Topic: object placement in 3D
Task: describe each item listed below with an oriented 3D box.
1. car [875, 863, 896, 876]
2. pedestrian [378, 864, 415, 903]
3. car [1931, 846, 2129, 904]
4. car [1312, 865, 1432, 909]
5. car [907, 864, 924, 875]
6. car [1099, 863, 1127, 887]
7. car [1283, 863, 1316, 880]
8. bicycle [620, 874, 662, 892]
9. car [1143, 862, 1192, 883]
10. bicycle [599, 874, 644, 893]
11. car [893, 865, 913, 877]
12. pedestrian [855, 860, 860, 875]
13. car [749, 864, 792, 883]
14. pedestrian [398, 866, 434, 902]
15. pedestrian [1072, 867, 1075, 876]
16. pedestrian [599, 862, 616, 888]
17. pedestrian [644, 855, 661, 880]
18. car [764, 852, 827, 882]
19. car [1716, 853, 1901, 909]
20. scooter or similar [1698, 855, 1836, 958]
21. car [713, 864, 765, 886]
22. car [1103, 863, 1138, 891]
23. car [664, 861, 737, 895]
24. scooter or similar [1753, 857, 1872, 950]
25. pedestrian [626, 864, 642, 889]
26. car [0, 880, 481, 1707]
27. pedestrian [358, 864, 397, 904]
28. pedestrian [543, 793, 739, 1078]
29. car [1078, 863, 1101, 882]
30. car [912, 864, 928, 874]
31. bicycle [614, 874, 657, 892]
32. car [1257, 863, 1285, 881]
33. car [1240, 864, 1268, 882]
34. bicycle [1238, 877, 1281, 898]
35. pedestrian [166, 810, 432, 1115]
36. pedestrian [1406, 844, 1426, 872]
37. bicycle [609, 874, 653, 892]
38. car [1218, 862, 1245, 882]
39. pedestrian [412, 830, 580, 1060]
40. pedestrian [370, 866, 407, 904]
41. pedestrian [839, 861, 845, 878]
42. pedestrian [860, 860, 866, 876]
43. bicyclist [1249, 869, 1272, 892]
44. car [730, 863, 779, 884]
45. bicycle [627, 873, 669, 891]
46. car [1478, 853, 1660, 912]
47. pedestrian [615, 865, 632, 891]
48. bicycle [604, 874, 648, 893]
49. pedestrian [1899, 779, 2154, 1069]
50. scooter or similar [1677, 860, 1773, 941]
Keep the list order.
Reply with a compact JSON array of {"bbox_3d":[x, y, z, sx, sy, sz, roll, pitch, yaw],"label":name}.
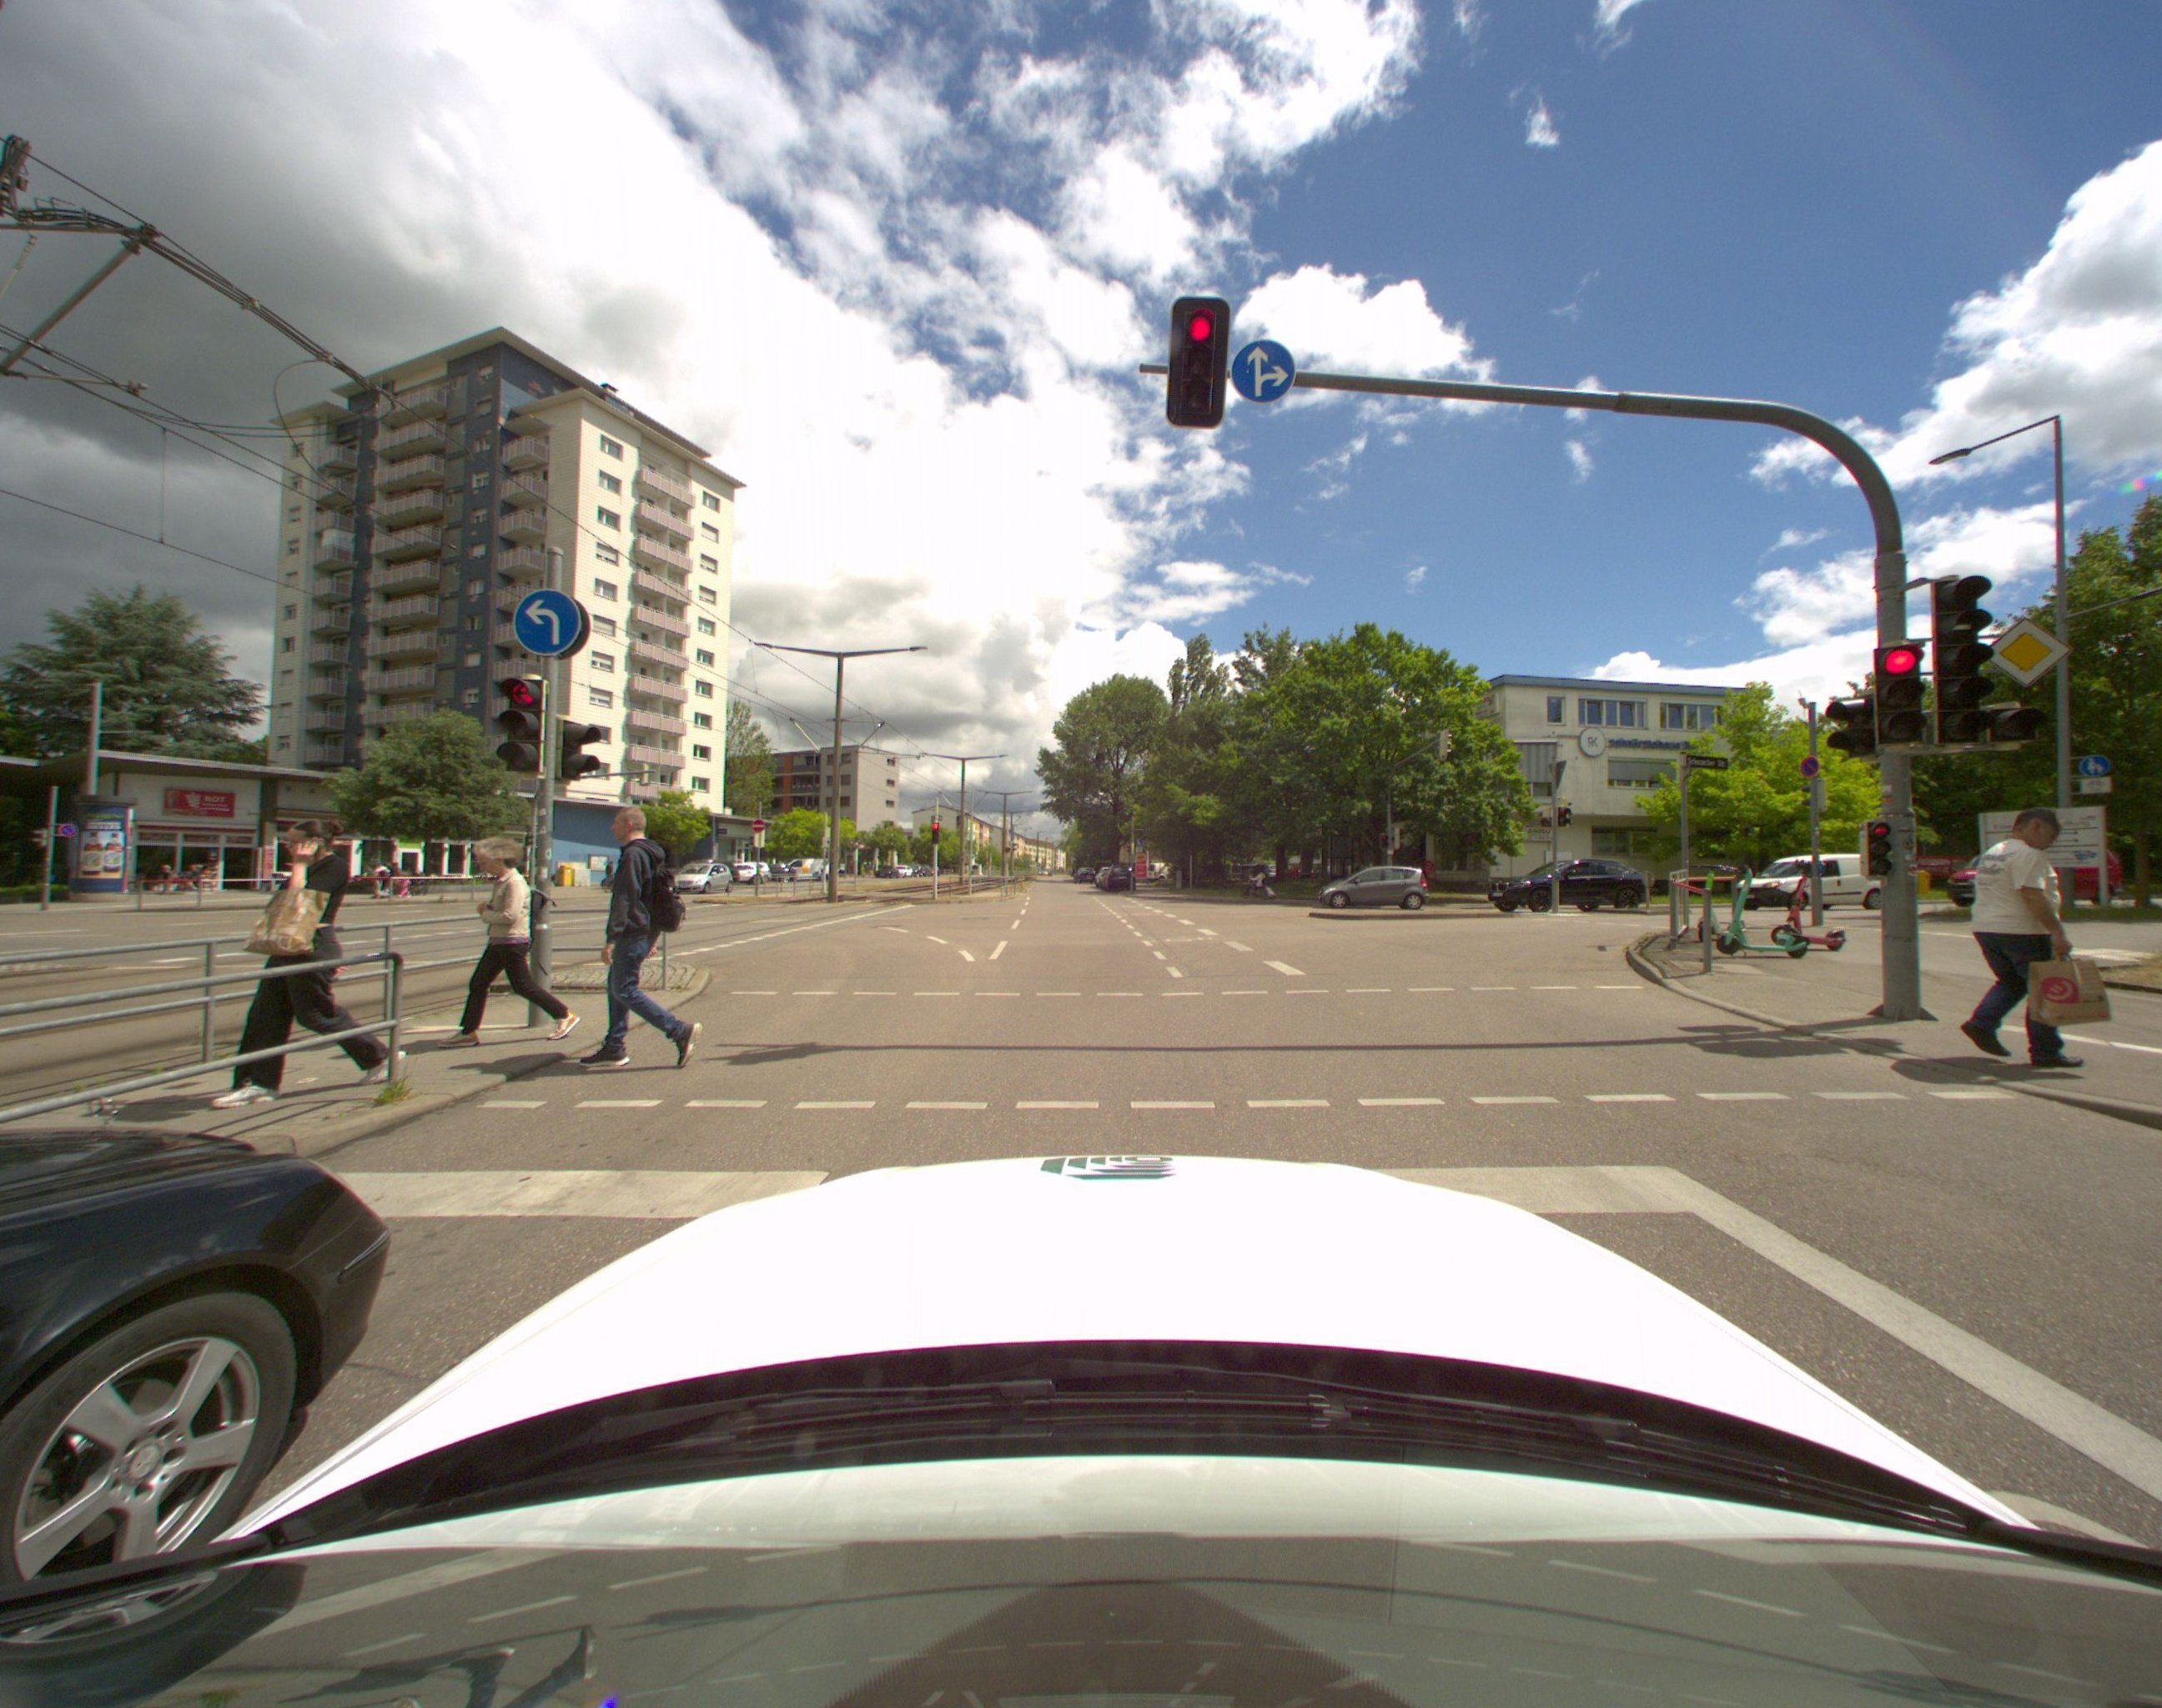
[{"bbox_3d":[-22.003,1.685,91.778,1.758,1.395,3.993,0,0,-5],"label":"car"},{"bbox_3d":[-30.104,1.280,35.840,0.935,1.659,1.106,-2,-1,40],"label":"pedestrian"},{"bbox_3d":[31.707,0.697,27.277,4.800,1.864,1.994,0,-2,-8],"label":"car"},{"bbox_3d":[10.618,1.180,29.986,3.882,1.556,2.006,0,0,10],"label":"car"},{"bbox_3d":[-21.454,2.030,105.783,1.758,1.395,3.993,0,0,-5],"label":"car"},{"bbox_3d":[2.332,1.559,59.346,1.986,1.684,4.001,0,-1,2],"label":"car"},{"bbox_3d":[20.572,1.633,76.686,1.728,1.595,3.992,0,0,-5],"label":"car"},{"bbox_3d":[-23.401,1.518,43.336,1.943,0.935,0.494,0,-1,-5],"label":"bicycle"},{"bbox_3d":[7.769,1.631,73.299,4.001,1.823,1.766,0,-1,-21],"label":"car"},{"bbox_3d":[-23.336,1.498,41.340,1.943,0.935,0.494,0,-1,-5],"label":"bicycle"},{"bbox_3d":[-21.666,2.055,99.190,1.758,1.395,3.993,0,0,-5],"label":"car"},{"bbox_3d":[-25.072,1.545,91.271,0.547,1.716,0.404,0,-1,-8],"label":"pedestrian"},{"bbox_3d":[-24.895,1.551,65.321,1.800,1.420,4.166,0,-1,-43],"label":"car"},{"bbox_3d":[-30.782,1.387,37.693,0.957,1.659,1.002,-1,-1,27],"label":"pedestrian"},{"bbox_3d":[-1.321,2.924,136.411,0.477,1.637,0.454,0,-1,1],"label":"pedestrian"},{"bbox_3d":[-30.015,1.310,51.644,0.767,1.615,0.695,0,-1,-11],"label":"pedestrian"},{"bbox_3d":[-32.369,1.015,61.518,0.866,1.917,1.208,0,0,-15],"label":"pedestrian"},{"bbox_3d":[-24.684,1.085,70.216,2.848,2.478,6.641,0,-1,-42],"label":"car"},{"bbox_3d":[23.488,0.828,26.383,4.555,1.717,1.995,0,0,-8],"label":"car"},{"bbox_3d":[8.849,0.662,10.538,1.336,1.277,0.463,0,0,8],"label":"scooter or similar"},{"bbox_3d":[-24.645,1.484,58.654,4.165,1.570,1.973,-1,-1,45],"label":"car"},{"bbox_3d":[2.490,1.454,51.891,2.144,1.684,4.001,0,-1,2],"label":"car"},{"bbox_3d":[-19.810,1.218,42.582,1.930,1.693,3.874,0,0,2],"label":"car"},{"bbox_3d":[10.236,0.682,11.414,1.225,1.240,0.555,2,0,-7],"label":"scooter or similar"},{"bbox_3d":[-29.762,1.497,54.252,0.767,1.615,0.695,0,-1,-12],"label":"pedestrian"},{"bbox_3d":[-2.745,0.800,0.187,1.721,1.461,4.546,0,0,2],"label":"car"},{"bbox_3d":[-29.936,1.267,34.656,0.935,1.659,1.106,-2,-1,40],"label":"pedestrian"},{"bbox_3d":[-3.186,0.553,6.009,0.963,1.942,0.896,0,0,-3],"label":"pedestrian"},{"bbox_3d":[0.810,1.699,74.601,1.986,1.684,4.002,0,0,2],"label":"car"},{"bbox_3d":[-21.807,2.031,110.359,1.758,1.395,3.993,0,0,-5],"label":"car"},{"bbox_3d":[-23.414,1.513,42.789,1.943,0.935,0.494,0,-1,-5],"label":"bicycle"},{"bbox_3d":[17.762,1.651,76.244,1.626,1.595,3.998,0,0,-1],"label":"car"},{"bbox_3d":[15.926,1.755,75.117,1.626,1.573,4.030,0,0,-1],"label":"car"},{"bbox_3d":[7.813,1.462,35.782,0.797,0.819,1.788,1,-1,-35],"label":"bicycle"},{"bbox_3d":[-4.899,0.629,5.184,0.933,1.765,0.769,0,0,-10],"label":"pedestrian"},{"bbox_3d":[19.959,0.254,48.533,0.769,1.643,0.904,0,-1,-12],"label":"pedestrian"},{"bbox_3d":[-23.390,1.508,42.313,1.943,0.935,0.494,0,-1,-5],"label":"bicycle"},{"bbox_3d":[13.711,1.635,74.422,1.626,1.811,4.030,0,0,-1],"label":"car"},{"bbox_3d":[-4.646,0.667,6.551,0.958,1.674,0.863,-1,-1,-28],"label":"pedestrian"},{"bbox_3d":[-31.144,1.379,36.631,0.957,1.659,1.002,-1,-1,27],"label":"pedestrian"},{"bbox_3d":[-23.991,1.540,81.729,0.545,1.716,0.405,0,-1,1],"label":"pedestrian"},{"bbox_3d":[-24.650,1.578,91.963,0.547,1.716,0.667,0,-1,-8],"label":"pedestrian"},{"bbox_3d":[7.891,1.156,35.736,0.797,1.022,0.629,1,-1,-35],"label":"bicyclist"},{"bbox_3d":[-24.832,1.439,61.927,4.165,1.538,1.973,-1,-1,45],"label":"car"},{"bbox_3d":[-23.370,1.524,43.938,1.943,0.935,0.494,0,-1,-5],"label":"bicycle"},{"bbox_3d":[15.022,0.847,25.232,4.549,1.717,1.997,0,0,-4],"label":"car"},{"bbox_3d":[-28.765,1.511,51.247,0.767,1.615,0.695,0,-1,-12],"label":"pedestrian"},{"bbox_3d":[-23.365,1.503,41.807,1.943,0.935,0.494,0,-1,-5],"label":"bicycle"},{"bbox_3d":[6.306,0.437,5.479,0.866,1.808,0.741,0,0,-2],"label":"pedestrian"},{"bbox_3d":[9.751,0.694,12.327,1.360,1.156,0.540,1,0,-23],"label":"scooter or similar"}]
